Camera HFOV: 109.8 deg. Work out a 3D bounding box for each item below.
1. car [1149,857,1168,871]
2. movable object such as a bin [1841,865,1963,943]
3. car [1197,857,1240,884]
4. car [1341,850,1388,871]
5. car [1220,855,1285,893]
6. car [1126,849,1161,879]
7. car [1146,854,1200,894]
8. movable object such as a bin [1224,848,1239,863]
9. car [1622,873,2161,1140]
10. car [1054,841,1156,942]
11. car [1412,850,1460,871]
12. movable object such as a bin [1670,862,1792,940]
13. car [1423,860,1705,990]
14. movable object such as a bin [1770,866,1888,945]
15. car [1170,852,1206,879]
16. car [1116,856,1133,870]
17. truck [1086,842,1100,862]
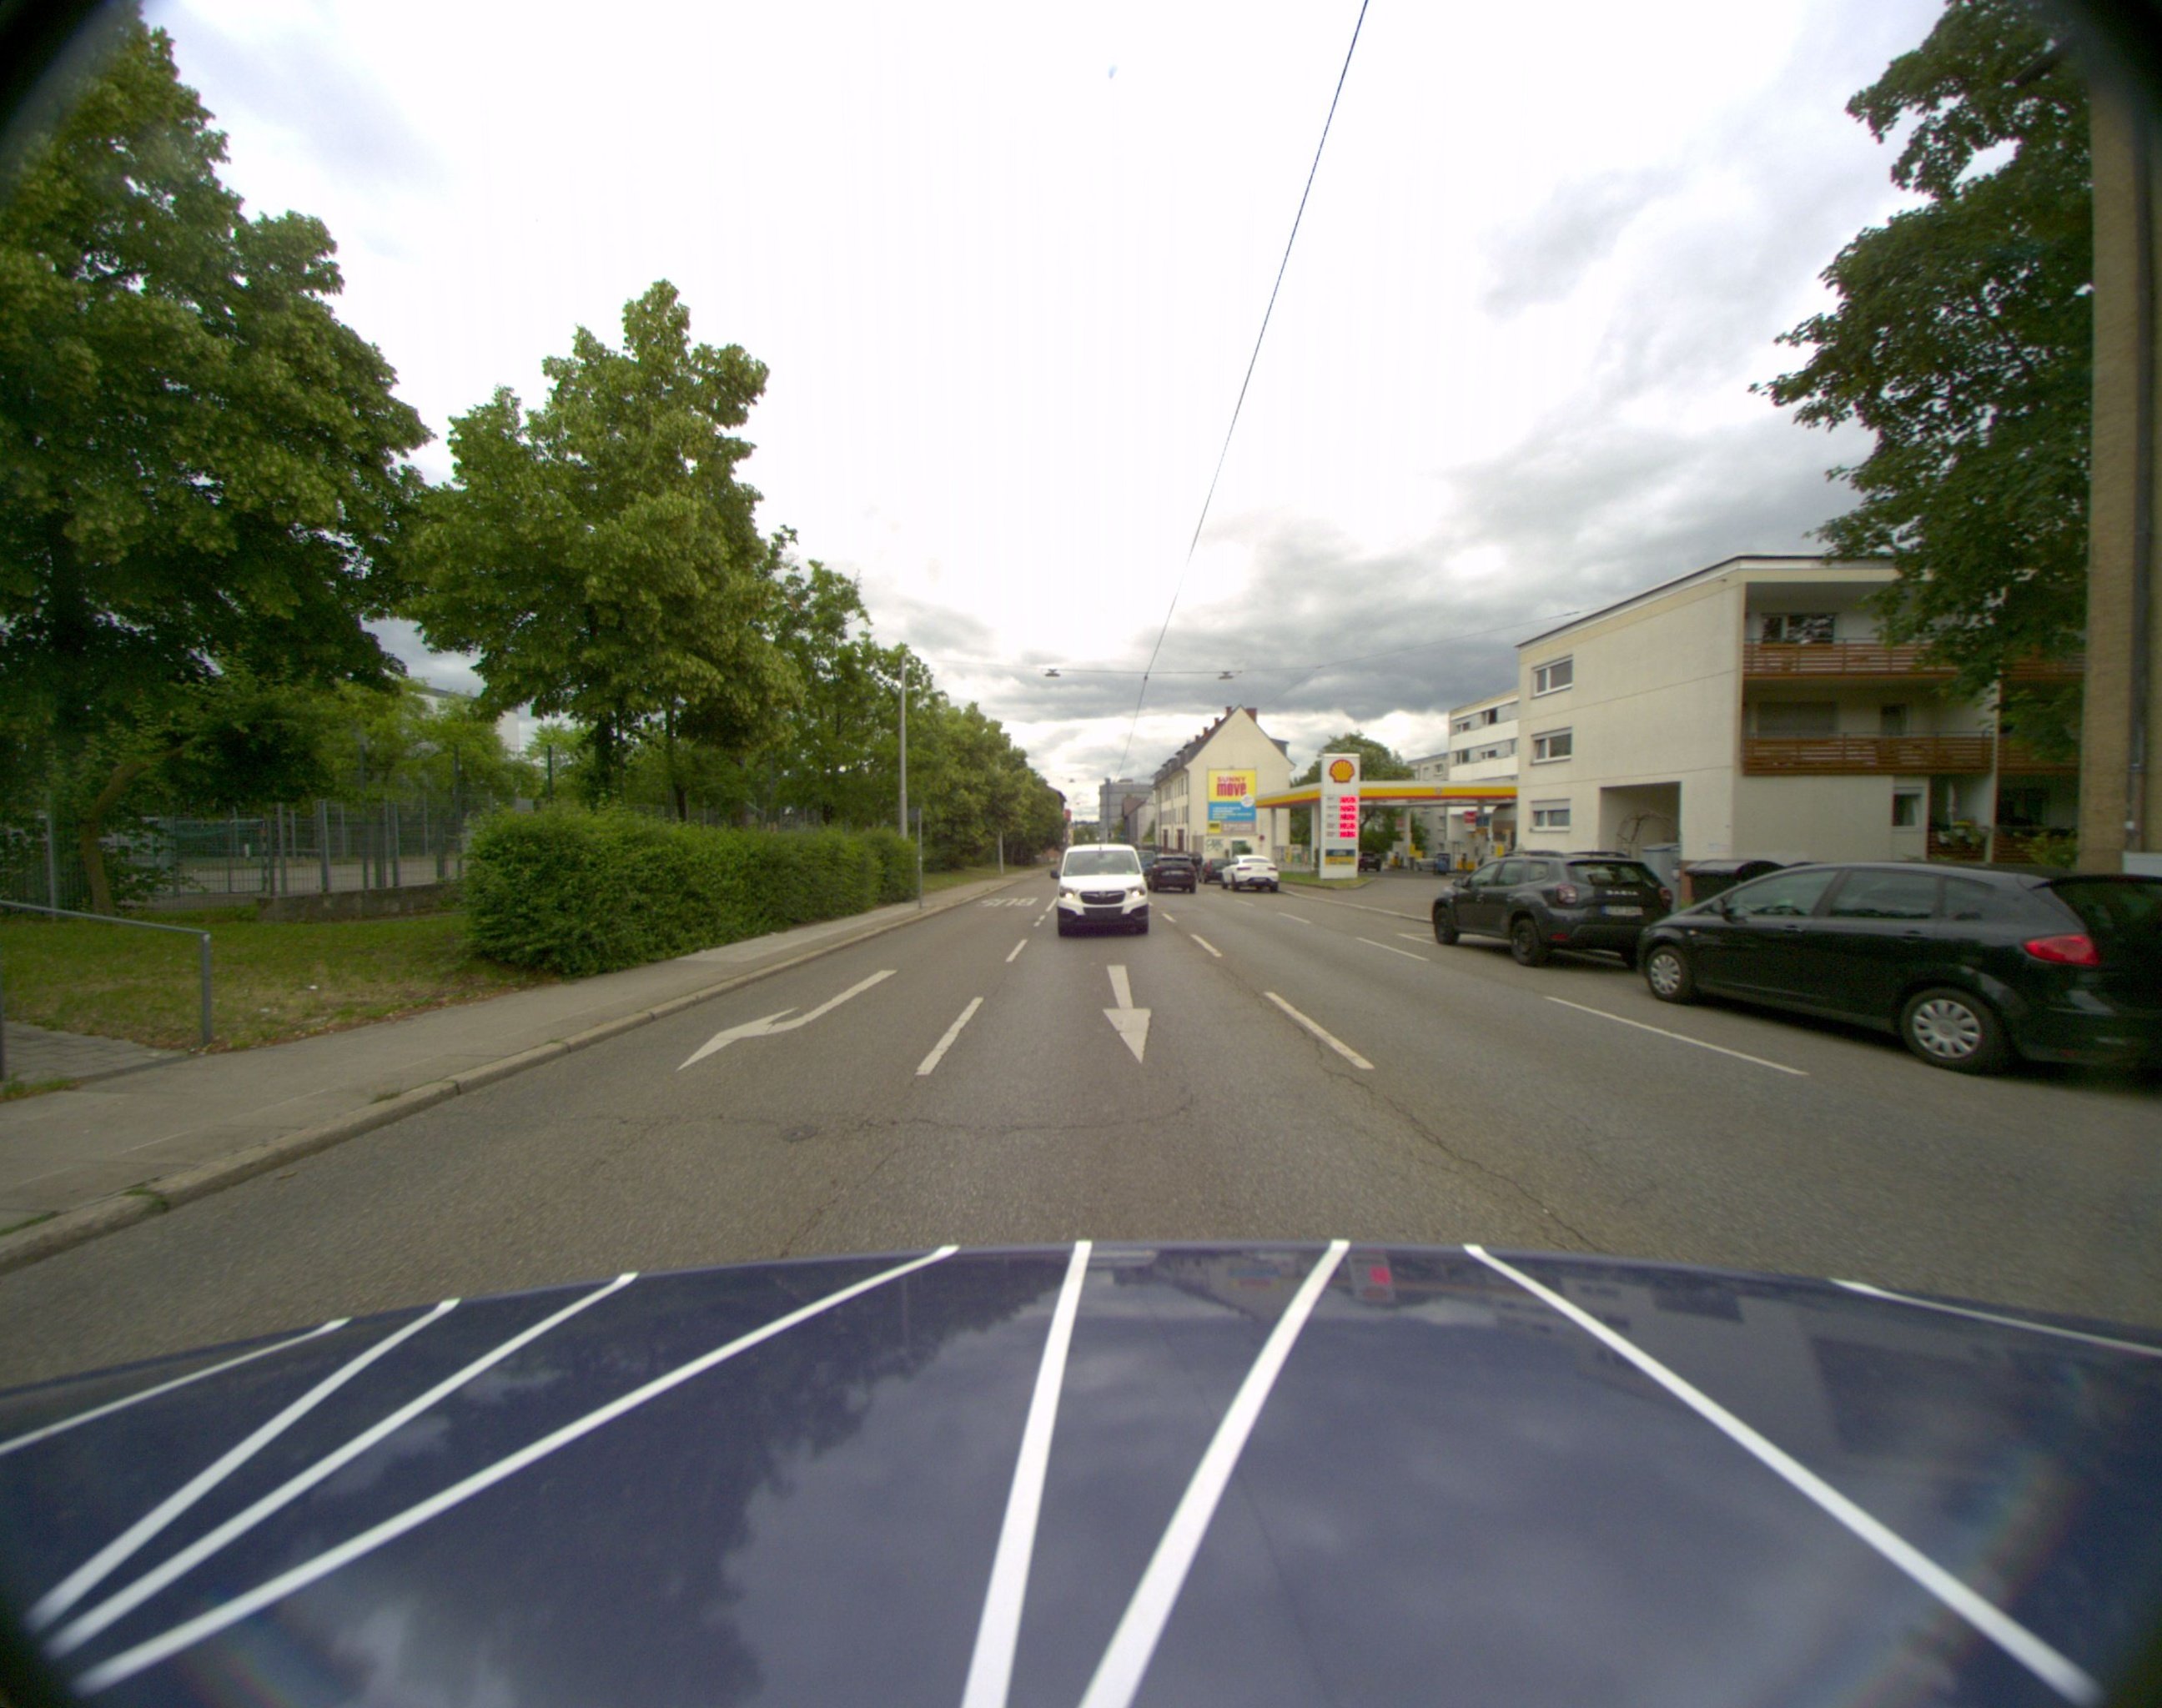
[{"bbox_3d":[8.040,1.063,78.777,1.623,1.417,3.665,0,0,1],"label":"car"},{"bbox_3d":[15.875,0.939,14.726,1.396,1.420,0.913,-1,0,-2],"label":"movable object such as a bin"},{"bbox_3d":[7.747,0.890,43.103,1.802,1.423,4.744,1,0,3],"label":"car"},{"bbox_3d":[20.590,0.480,55.329,1.802,1.412,4.417,-1,0,1],"label":"car"},{"bbox_3d":[7.571,0.849,34.016,1.920,1.568,4.700,0,0,1],"label":"car"},{"bbox_3d":[4.096,0.637,50.324,1.936,1.889,4.589,0,0,0],"label":"car"},{"bbox_3d":[3.873,0.798,32.567,1.844,1.581,4.164,0,0,1],"label":"car"},{"bbox_3d":[15.324,0.121,77.533,1.268,1.529,1.104,1,0,0],"label":"movable object such as a bin"},{"bbox_3d":[7.142,0.993,6.697,1.756,1.521,4.098,1,0,-1],"label":"car"},{"bbox_3d":[0.477,0.754,16.185,1.850,1.831,4.285,-1,-2,1],"label":"car"},{"bbox_3d":[25.471,0.466,54.613,1.802,1.412,3.636,-1,0,1],"label":"car"},{"bbox_3d":[12.750,0.896,14.958,1.284,1.420,1.279,-1,0,-4],"label":"movable object such as a bin"},{"bbox_3d":[7.231,0.934,12.006,1.787,1.600,4.265,2,0,2],"label":"car"},{"bbox_3d":[14.432,0.972,14.692,1.396,1.420,0.913,-1,0,-2],"label":"movable object such as a bin"},{"bbox_3d":[7.651,0.806,54.796,1.856,1.824,4.701,1,0,-1],"label":"car"},{"bbox_3d":[4.828,0.991,84.700,1.782,1.457,4.499,0,0,1],"label":"car"},{"bbox_3d":[2.180,-0.278,138.719,2.545,3.478,8.522,0,-1,1],"label":"truck"}]
